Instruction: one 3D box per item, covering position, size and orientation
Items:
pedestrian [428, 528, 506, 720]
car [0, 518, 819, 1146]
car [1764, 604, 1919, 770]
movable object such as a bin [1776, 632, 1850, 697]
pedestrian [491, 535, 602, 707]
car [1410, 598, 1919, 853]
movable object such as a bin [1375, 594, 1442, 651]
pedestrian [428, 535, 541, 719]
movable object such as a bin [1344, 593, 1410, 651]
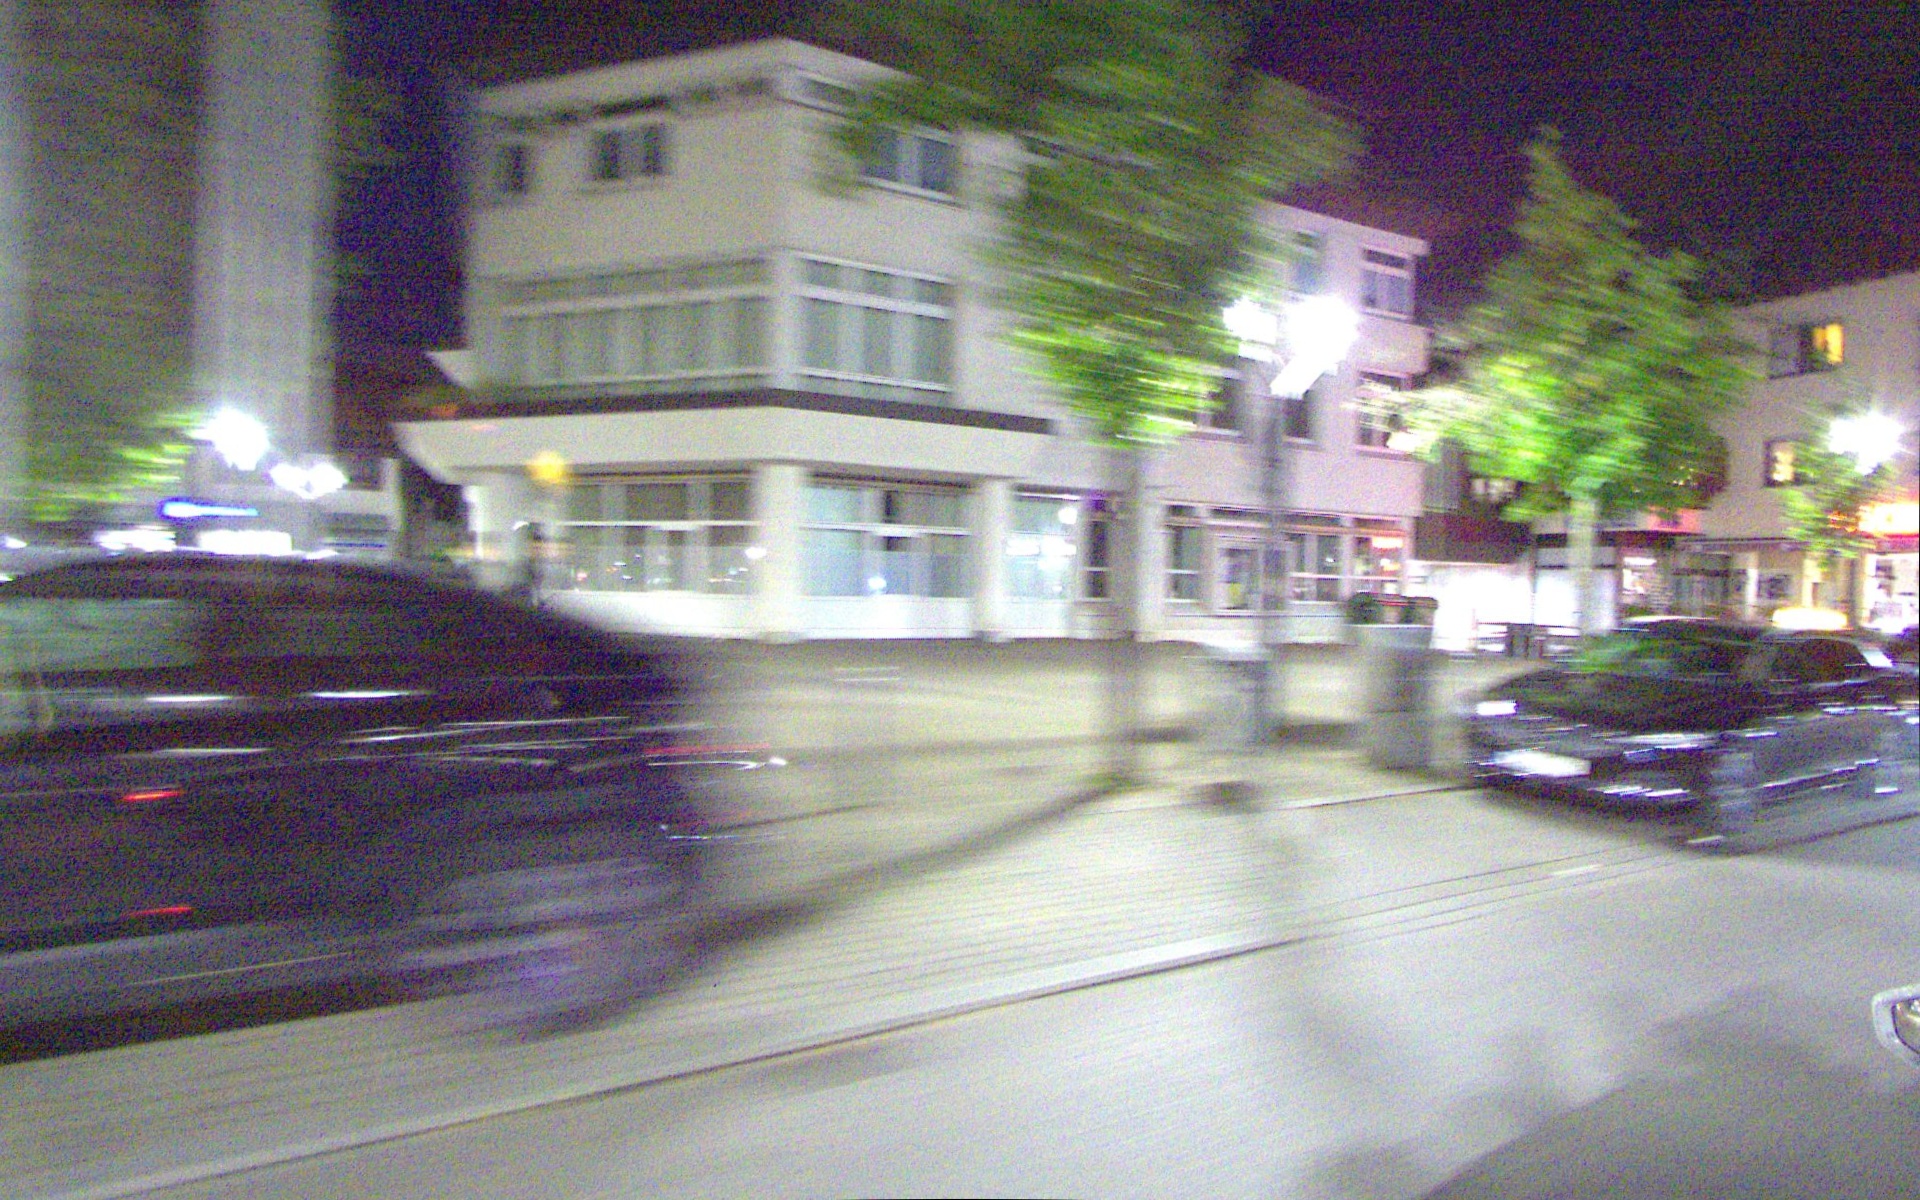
[{"bbox_3d":[-4.904,0.239,10.017,0.494,1.846,0.502,2,0,-5],"label":"pedestrian"},{"bbox_3d":[-2.875,0.560,3.292,4.427,1.595,1.763,2,1,-29],"label":"car"},{"bbox_3d":[11.546,0.924,11.784,4.759,1.659,1.750,1,0,-31],"label":"car"},{"bbox_3d":[14.869,1.111,17.506,0.783,1.079,0.743,2,0,-30],"label":"movable object such as a bin"},{"bbox_3d":[-4.598,0.224,11.232,1.006,1.842,0.792,2,2,-15],"label":"pedestrian"},{"bbox_3d":[6.089,0.838,8.442,4.729,1.562,1.894,1,1,-32],"label":"car"},{"bbox_3d":[12.358,0.613,27.668,1.212,1.477,1.126,2,1,-28],"label":"movable object such as a bin"},{"bbox_3d":[-5.040,0.270,10.705,0.775,1.856,0.880,2,2,-3],"label":"pedestrian"},{"bbox_3d":[11.206,0.589,27.020,1.270,1.463,1.032,2,1,-28],"label":"movable object such as a bin"}]
